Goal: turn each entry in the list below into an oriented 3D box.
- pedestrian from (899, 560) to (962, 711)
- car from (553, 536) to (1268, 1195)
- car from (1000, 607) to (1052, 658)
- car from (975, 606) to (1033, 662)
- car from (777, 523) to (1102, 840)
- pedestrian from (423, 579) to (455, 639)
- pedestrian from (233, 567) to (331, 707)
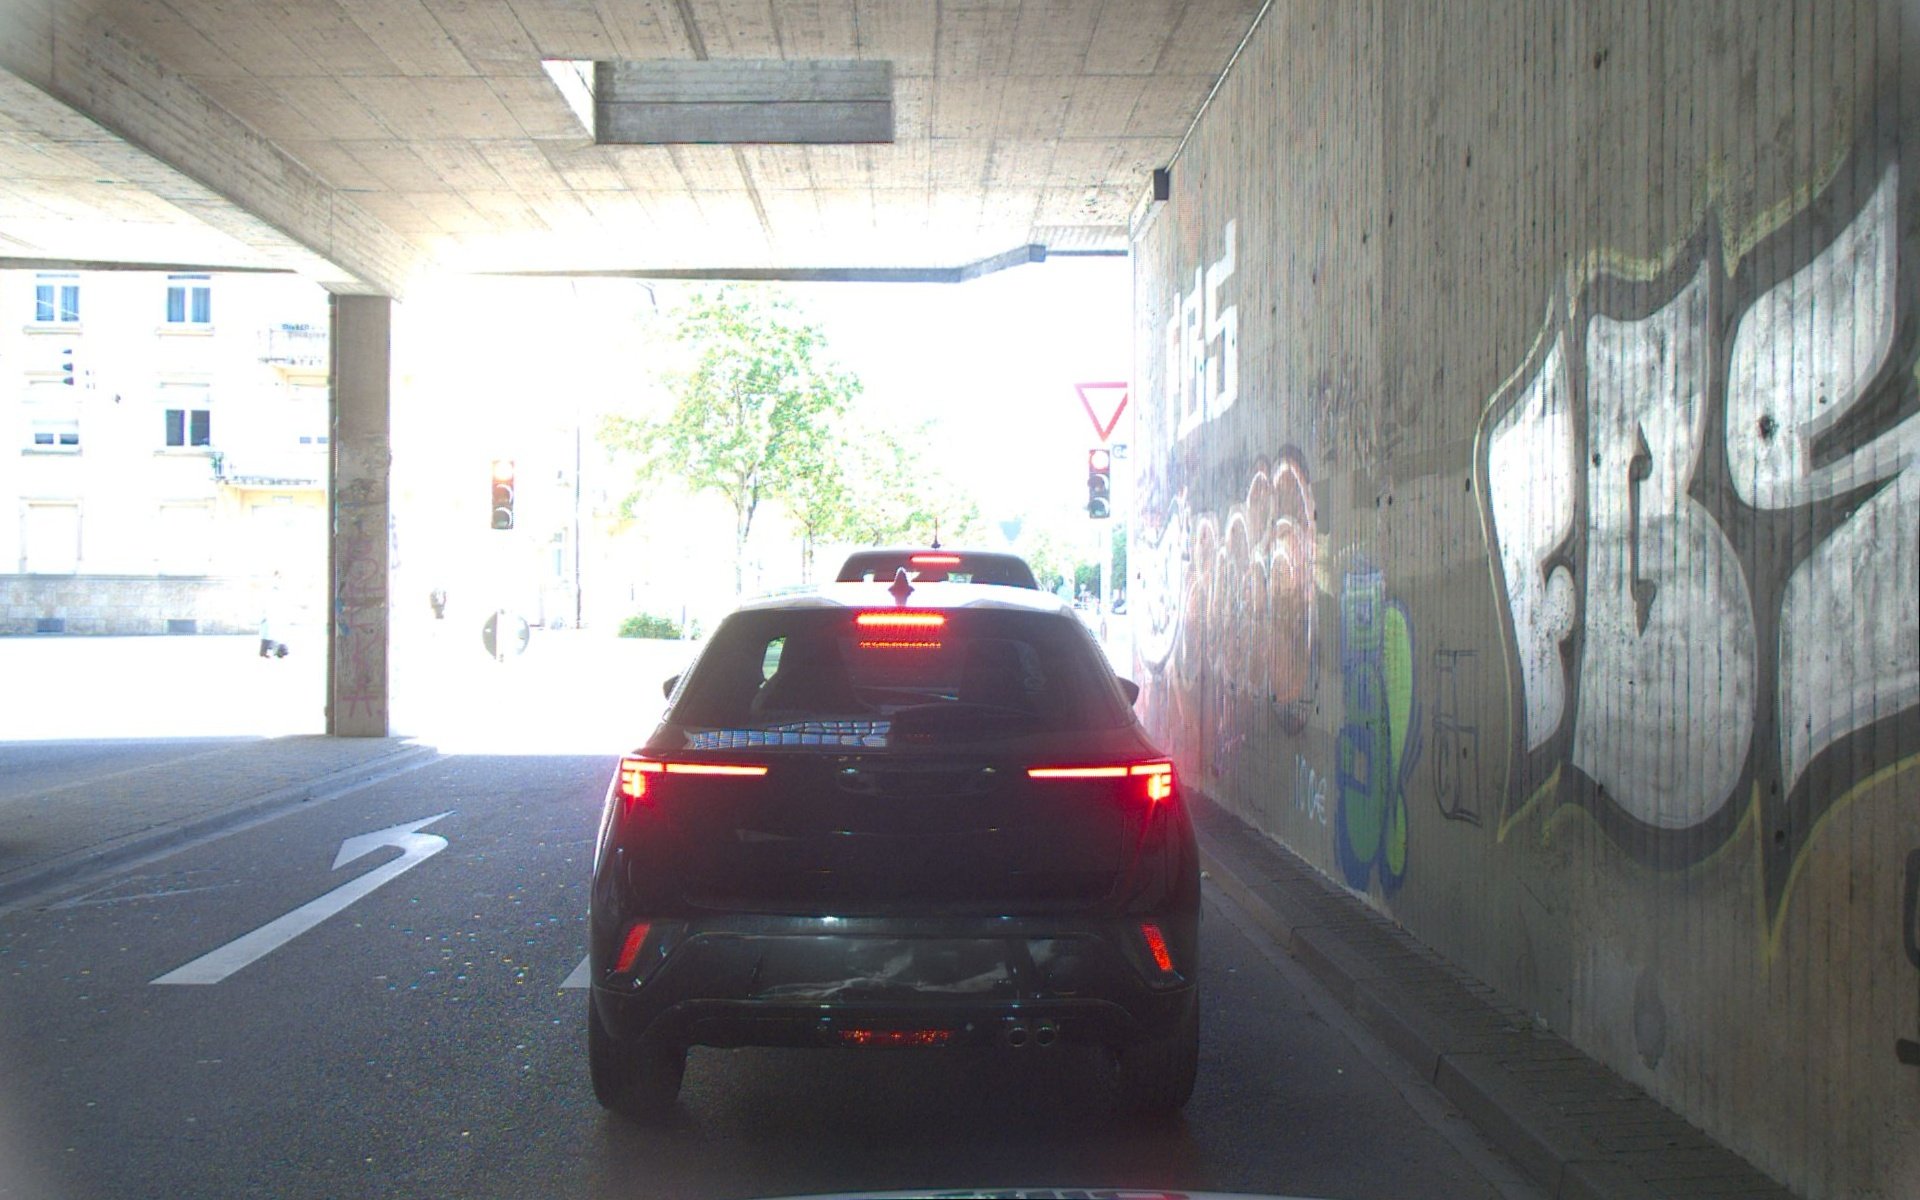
[{"bbox_3d":[-0.354,0.419,19.904,0.716,1.764,0.874,1,-1,-1],"label":"pedestrian"},{"bbox_3d":[-0.147,0.611,6.058,1.729,1.598,4.000,1,1,-1],"label":"car"},{"bbox_3d":[2.761,1.314,68.453,1.951,2.004,4.166,1,0,4],"label":"car"},{"bbox_3d":[1.702,1.256,62.256,1.951,2.004,4.166,1,0,4],"label":"car"},{"bbox_3d":[-0.150,0.478,11.988,1.953,1.904,3.999,0,0,-1],"label":"car"},{"bbox_3d":[-14.768,0.255,46.900,0.658,1.666,0.740,1,-1,-1],"label":"pedestrian"},{"bbox_3d":[-8.893,0.481,21.716,0.910,1.792,0.794,1,-1,1],"label":"pedestrian"}]
